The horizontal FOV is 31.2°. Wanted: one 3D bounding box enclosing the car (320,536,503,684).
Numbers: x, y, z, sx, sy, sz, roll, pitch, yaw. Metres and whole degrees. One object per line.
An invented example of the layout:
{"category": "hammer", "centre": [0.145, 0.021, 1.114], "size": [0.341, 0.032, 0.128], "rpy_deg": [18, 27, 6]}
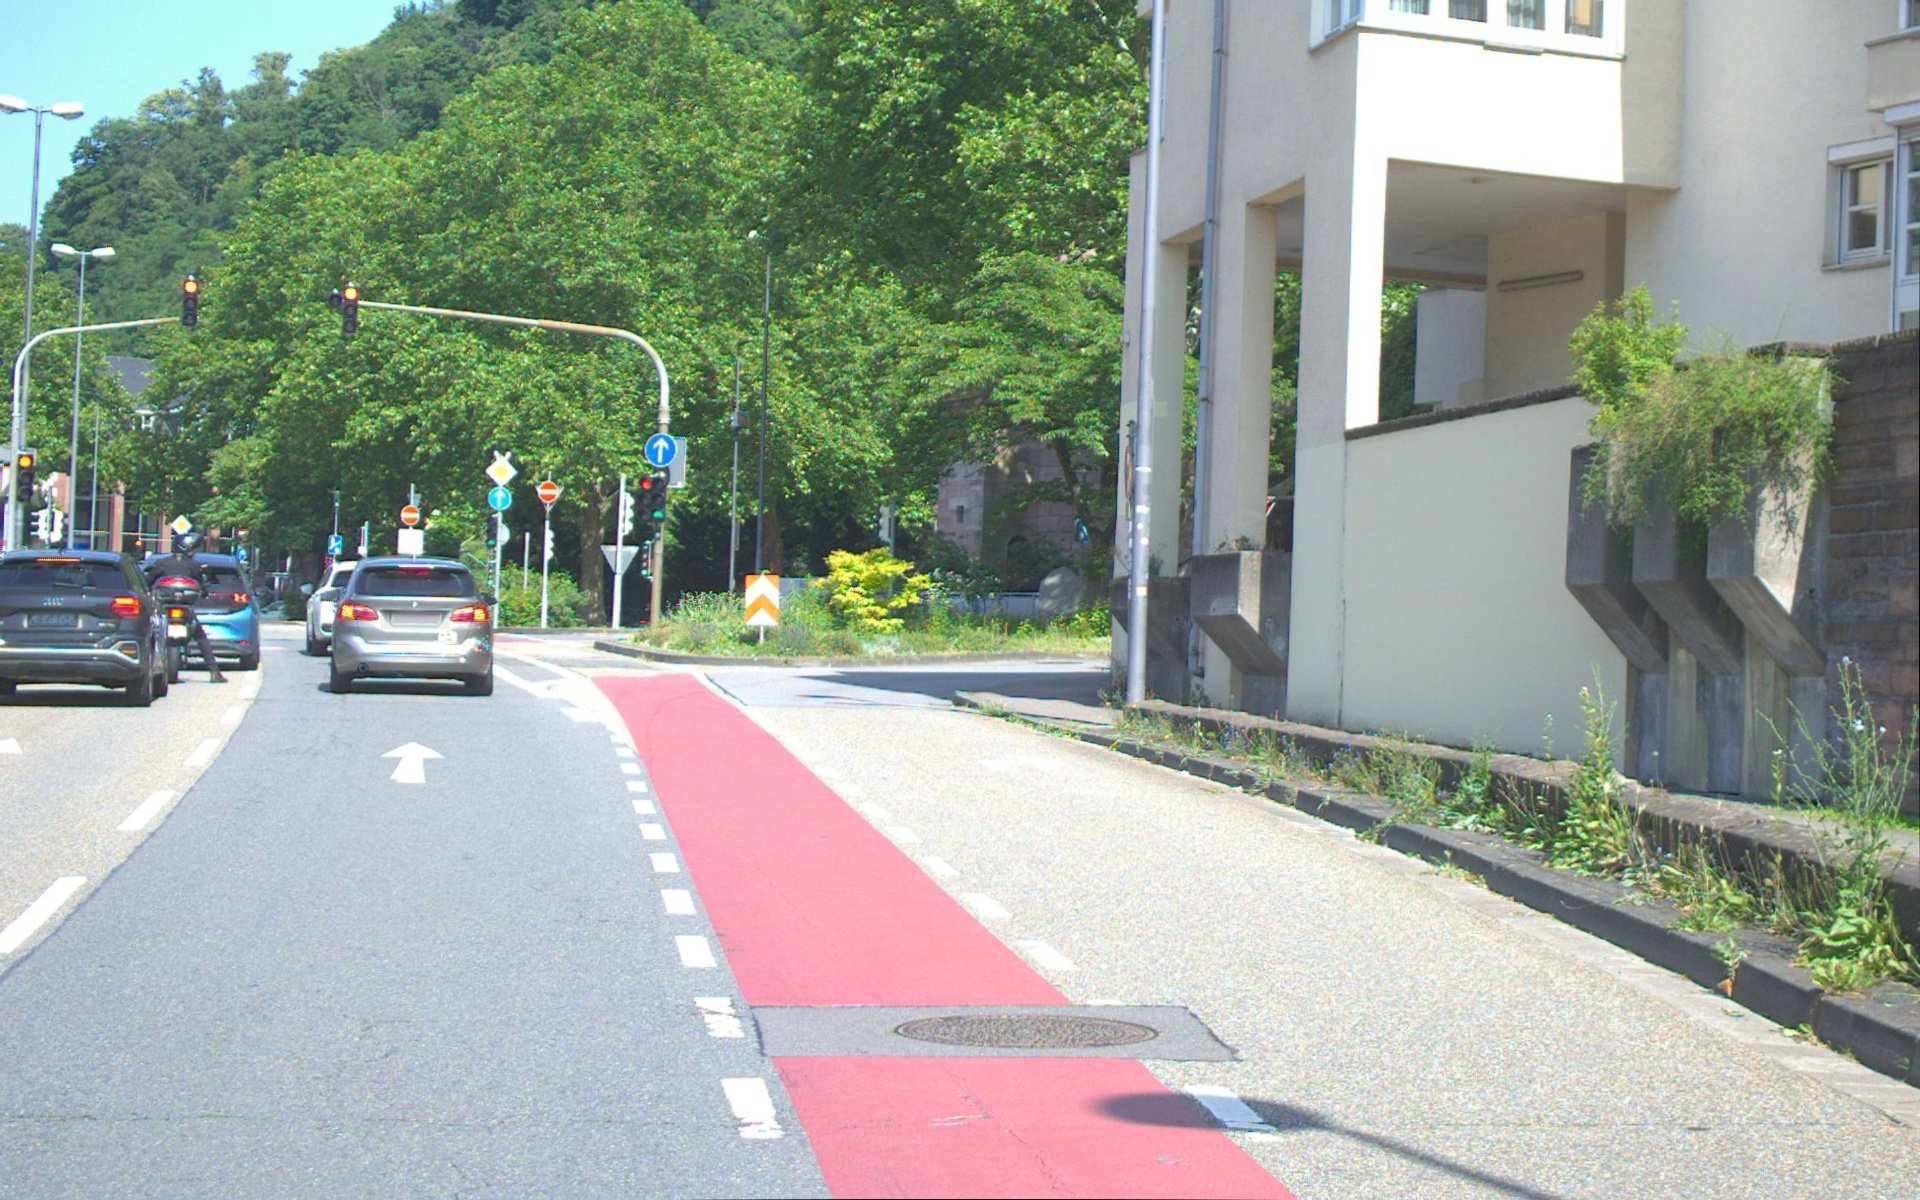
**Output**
{"category": "car", "centre": [-6.292, 0.099, 39.542], "size": [1.888, 1.516, 4.307], "rpy_deg": [3, 0, -9]}

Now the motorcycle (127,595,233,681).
{"category": "motorcycle", "centre": [-9.084, 0.428, 40.143], "size": [1.037, 0.916, 2.606], "rpy_deg": [1, 1, -9]}

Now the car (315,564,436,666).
{"category": "car", "centre": [-9.280, 0.218, 54.467], "size": [1.785, 1.527, 4.738], "rpy_deg": [1, 0, -10]}

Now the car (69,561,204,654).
{"category": "car", "centre": [-12.871, 0.099, 53.903], "size": [1.866, 1.354, 4.001], "rpy_deg": [1, 1, -11]}

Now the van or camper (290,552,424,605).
{"category": "van or camper", "centre": [-22.763, -0.822, 129.844], "size": [4.543, 1.895, 1.999], "rpy_deg": [1, 0, 7]}

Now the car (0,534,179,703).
{"category": "car", "centre": [-8.867, 0.154, 34.281], "size": [1.868, 1.508, 4.152], "rpy_deg": [3, 0, -11]}

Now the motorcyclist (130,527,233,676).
{"category": "motorcyclist", "centre": [-9.060, 0.011, 40.055], "size": [1.075, 1.678, 1.156], "rpy_deg": [1, 0, -9]}

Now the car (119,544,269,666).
{"category": "car", "centre": [-10.349, 0.039, 46.660], "size": [1.866, 1.557, 4.001], "rpy_deg": [1, 1, -11]}
